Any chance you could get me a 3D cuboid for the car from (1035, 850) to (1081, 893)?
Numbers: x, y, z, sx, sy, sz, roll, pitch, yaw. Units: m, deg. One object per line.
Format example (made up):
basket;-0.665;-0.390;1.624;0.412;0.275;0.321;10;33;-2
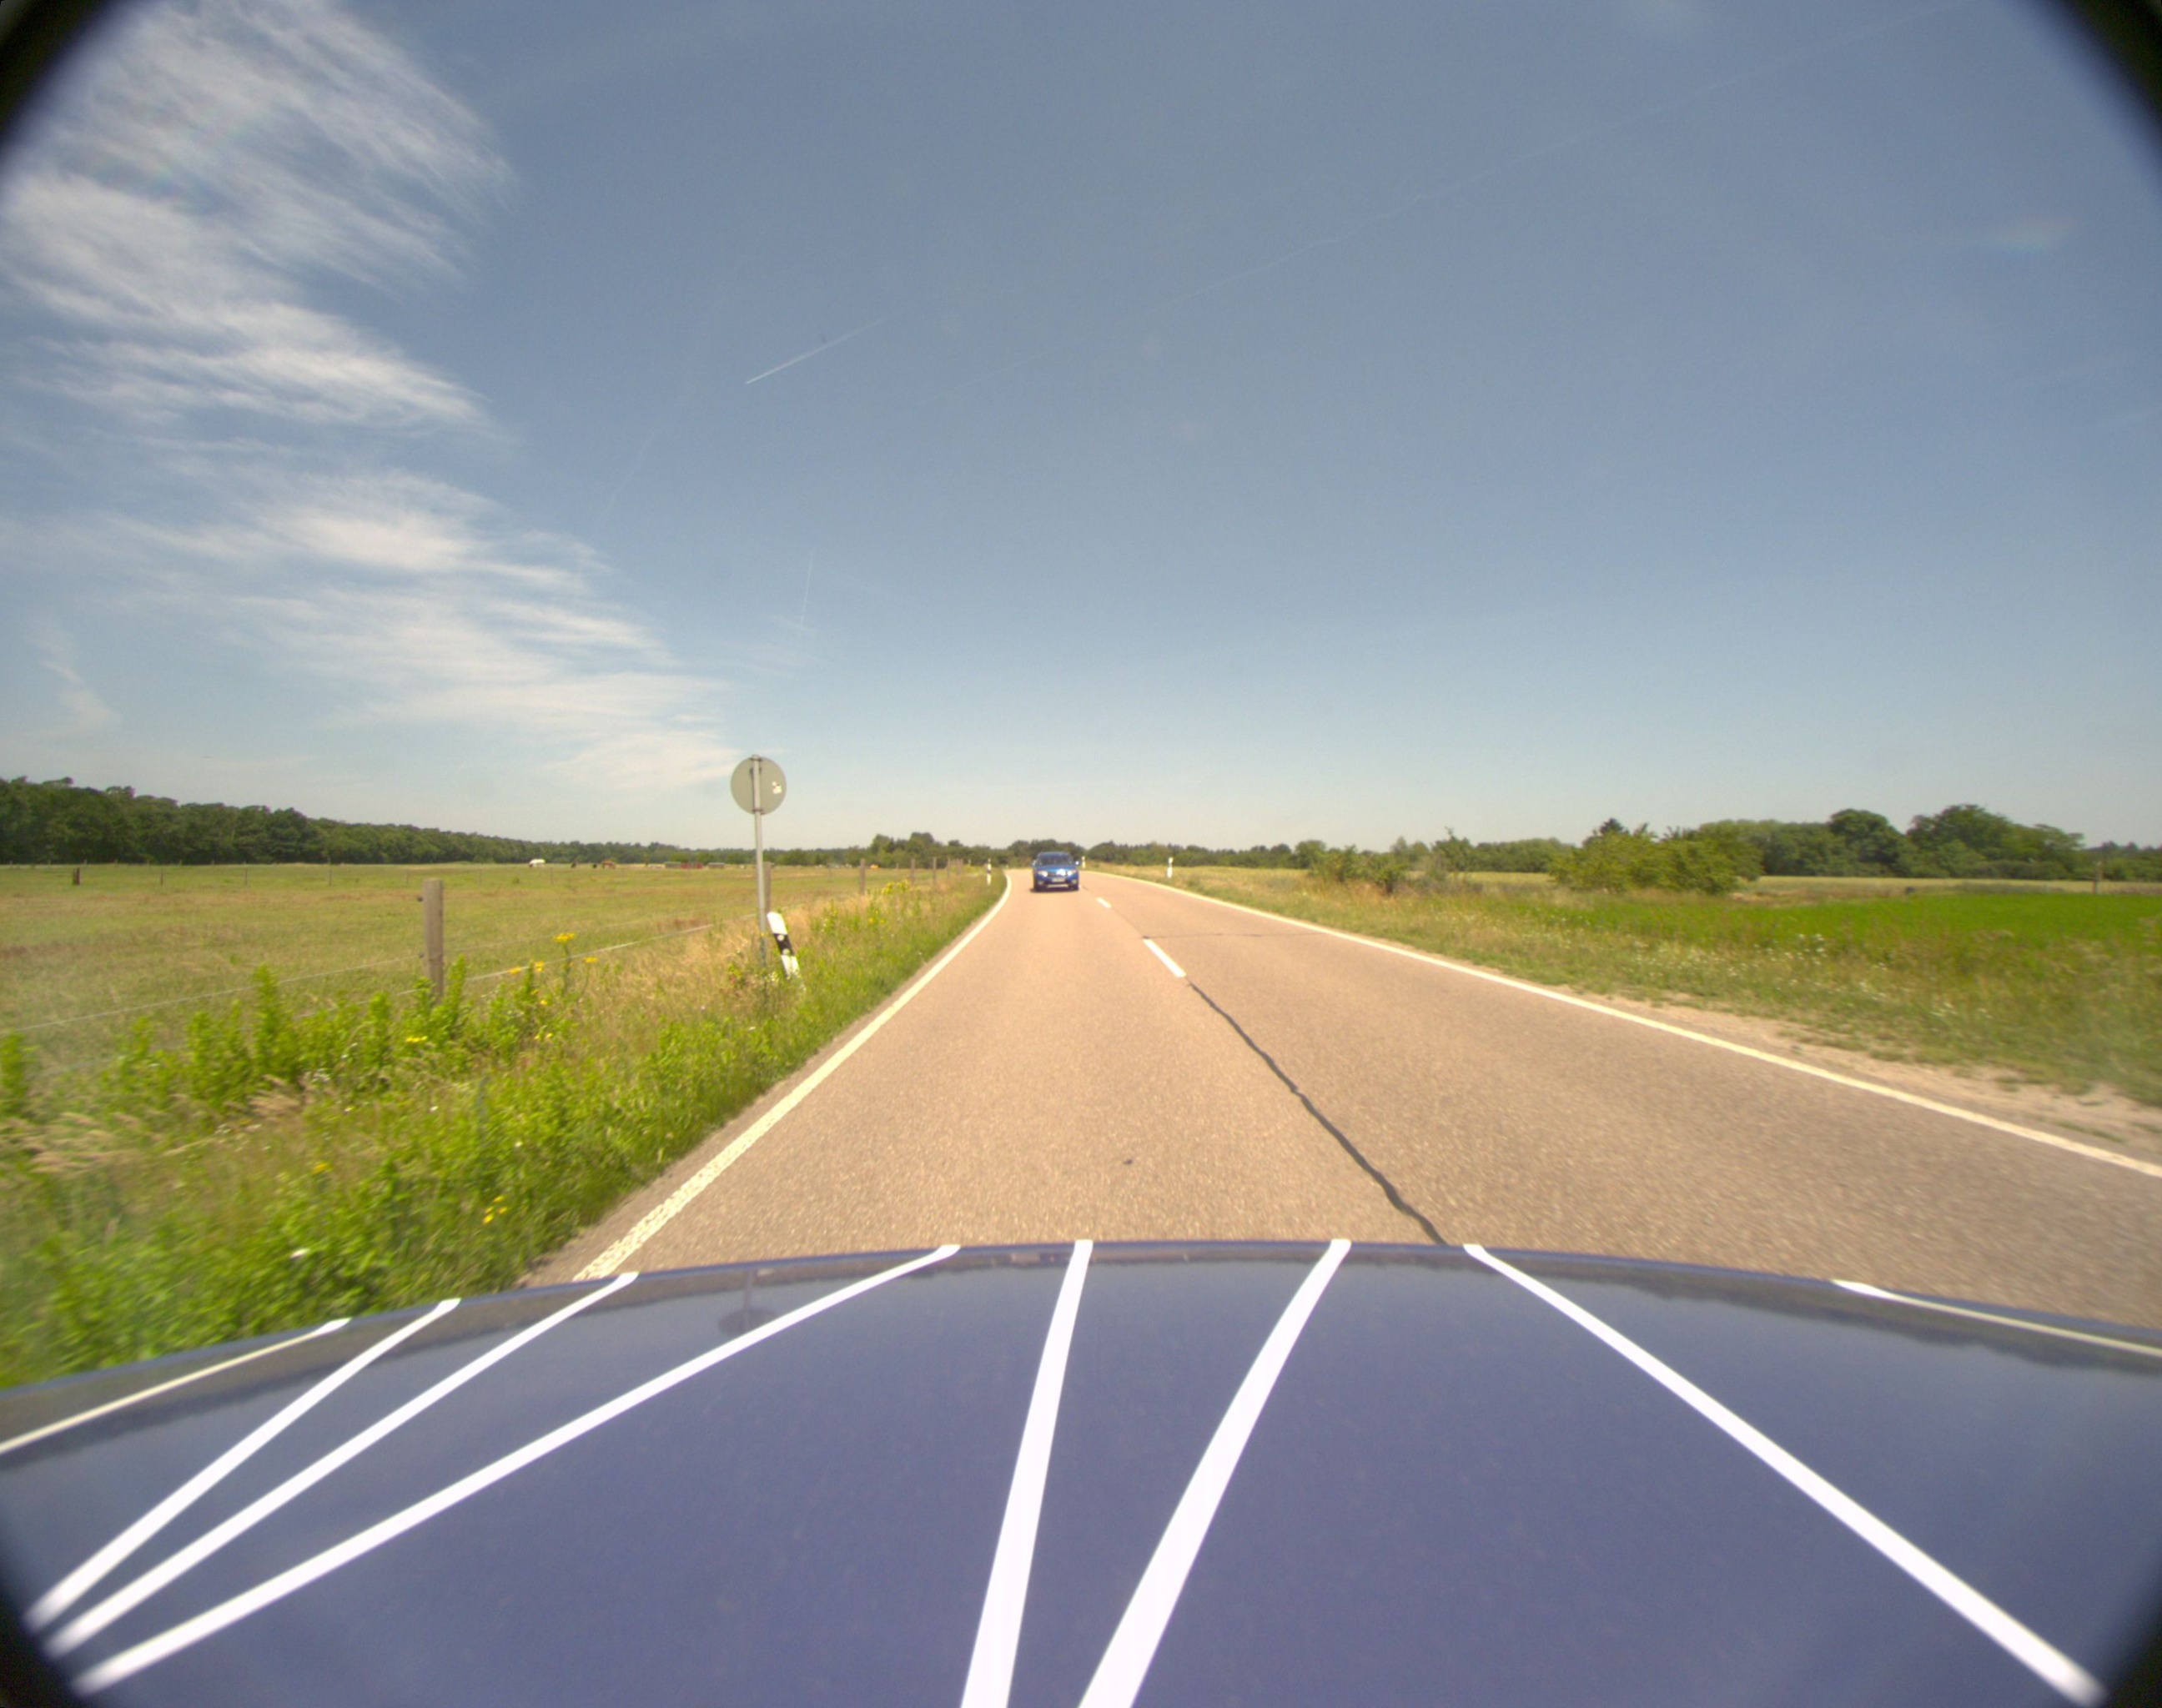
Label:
car;-1.000;0.659;31.376;1.734;1.572;3.998;-2;1;-3
